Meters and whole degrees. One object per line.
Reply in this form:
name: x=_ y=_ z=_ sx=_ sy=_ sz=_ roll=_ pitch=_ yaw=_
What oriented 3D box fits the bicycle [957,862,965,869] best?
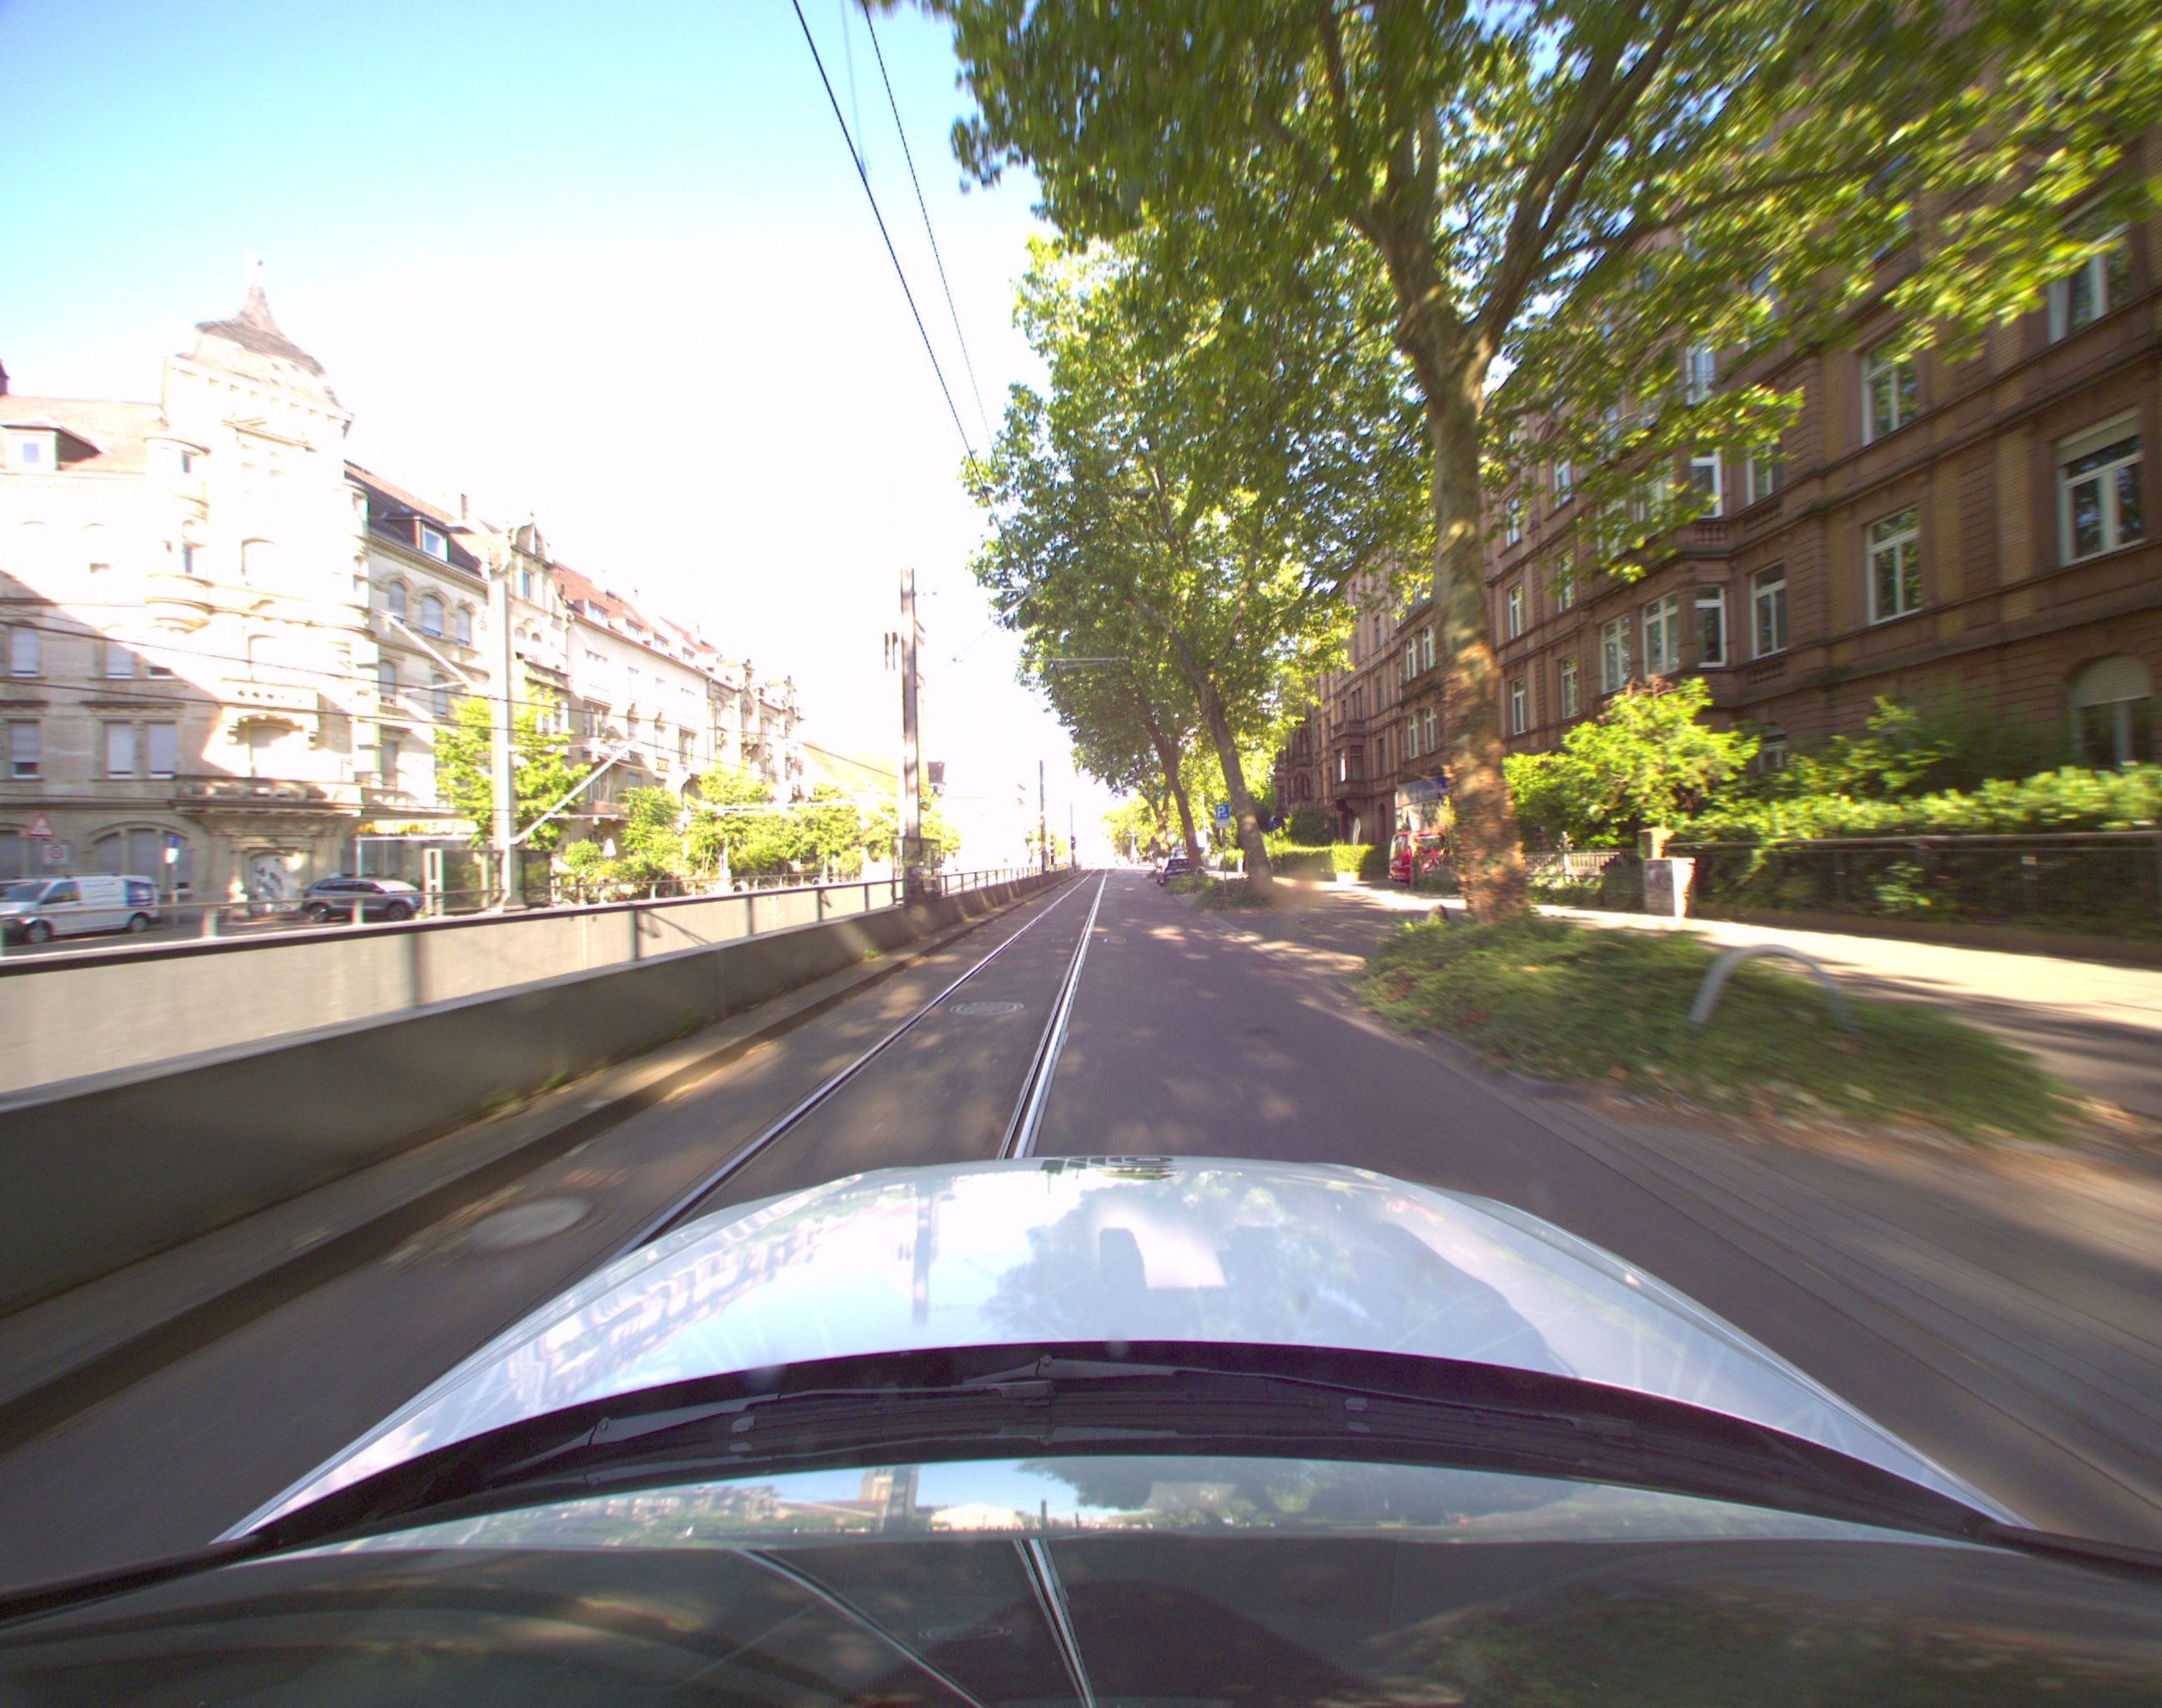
bicycle: x=-24.866 y=2.408 z=169.237 sx=0.826 sy=1.283 sz=2.541 roll=1 pitch=0 yaw=-29

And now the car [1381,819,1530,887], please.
car: x=12.957 y=-0.031 z=28.388 sx=4.162 sy=2.013 sz=2.000 roll=-4 pitch=-1 yaw=0

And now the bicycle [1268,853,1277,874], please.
bicycle: x=11.507 y=0.553 z=48.991 sx=0.336 sy=1.250 sz=1.770 roll=1 pitch=0 yaw=6

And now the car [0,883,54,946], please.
car: x=-33.689 y=1.844 z=23.816 sx=1.993 sy=1.849 sz=4.465 roll=1 pitch=0 yaw=-10

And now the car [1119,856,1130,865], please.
car: x=7.479 y=1.177 z=140.997 sx=1.739 sy=1.462 sz=3.645 roll=1 pitch=0 yaw=1

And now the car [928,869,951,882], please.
car: x=-17.381 y=2.615 z=100.119 sx=1.708 sy=1.555 sz=4.515 roll=1 pitch=0 yaw=4

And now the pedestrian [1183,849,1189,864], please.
pedestrian: x=13.252 y=0.298 z=102.975 sx=0.600 sy=1.776 sz=0.691 roll=-5 pitch=-1 yaw=6

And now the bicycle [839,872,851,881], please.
bicycle: x=-21.548 y=2.028 z=74.364 sx=0.414 sy=0.800 sz=1.890 roll=1 pitch=0 yaw=5

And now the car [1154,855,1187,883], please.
car: x=5.191 y=0.863 z=47.553 sx=1.546 sy=1.499 sz=4.051 roll=-3 pitch=-1 yaw=2

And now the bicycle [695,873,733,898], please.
bicycle: x=-19.447 y=1.652 z=43.156 sx=1.721 sy=1.280 sz=0.601 roll=-2 pitch=-1 yaw=7

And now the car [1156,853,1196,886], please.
car: x=5.001 y=0.786 z=43.297 sx=1.610 sy=1.587 sz=4.418 roll=-3 pitch=-1 yaw=1

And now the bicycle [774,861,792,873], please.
bicycle: x=-25.244 y=1.073 z=69.096 sx=0.502 sy=1.018 sz=2.115 roll=1 pitch=0 yaw=6

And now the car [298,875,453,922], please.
car: x=-26.152 y=1.611 z=30.299 sx=3.983 sy=1.624 sz=1.821 roll=0 pitch=0 yaw=-7

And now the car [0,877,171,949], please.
car: x=-31.049 y=1.713 z=24.831 sx=1.993 sy=1.849 sz=4.465 roll=1 pitch=0 yaw=-10

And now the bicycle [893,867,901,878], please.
bicycle: x=-18.076 y=1.827 z=80.092 sx=0.487 sy=1.022 sz=1.879 roll=1 pitch=0 yaw=-22
